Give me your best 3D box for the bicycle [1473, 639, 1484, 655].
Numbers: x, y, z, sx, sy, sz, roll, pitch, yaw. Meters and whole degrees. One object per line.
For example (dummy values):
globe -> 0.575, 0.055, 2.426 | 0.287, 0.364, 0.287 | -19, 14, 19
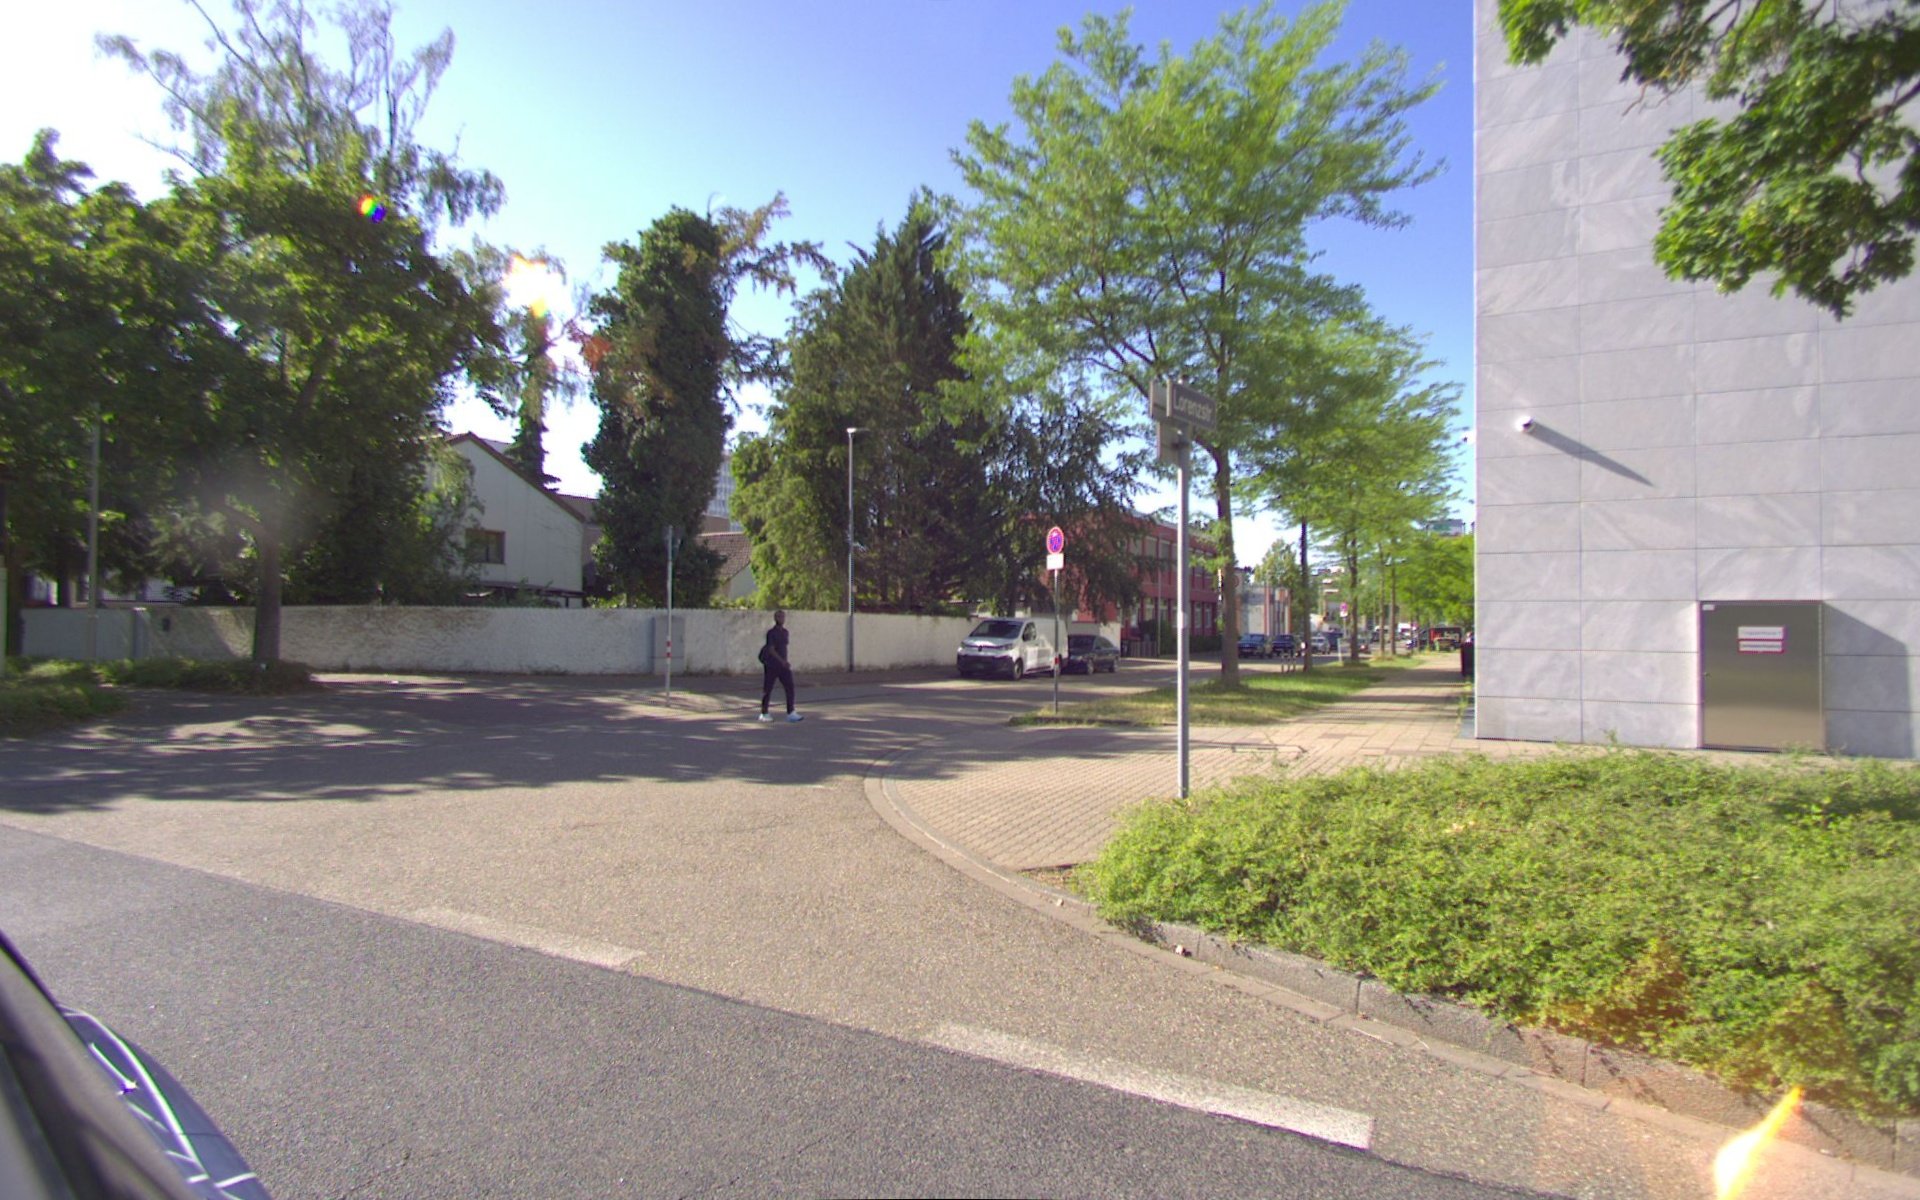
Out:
bicycle -> 37.826, 3.428, 73.828 | 0.600, 1.201, 1.711 | -2, -3, 28

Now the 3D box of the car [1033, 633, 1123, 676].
car -> 4.387, 1.938, 37.013 | 1.823, 1.434, 4.241 | 0, -2, 28

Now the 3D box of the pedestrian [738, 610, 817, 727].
pedestrian -> -2.744, 1.013, 15.271 | 0.807, 1.697, 0.827 | -2, -4, 41

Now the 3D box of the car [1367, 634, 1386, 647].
car -> 57.366, 5.562, 139.367 | 1.896, 1.607, 4.330 | 0, -2, 28

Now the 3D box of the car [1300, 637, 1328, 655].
car -> 31.001, 4.033, 88.537 | 1.693, 1.467, 3.852 | 0, -2, 28

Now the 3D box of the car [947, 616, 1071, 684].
car -> 1.649, 1.513, 31.812 | 1.896, 1.929, 5.098 | 0, -2, 28

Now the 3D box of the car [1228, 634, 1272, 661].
car -> 18.956, 3.057, 66.029 | 1.896, 1.642, 4.330 | 0, -2, 28

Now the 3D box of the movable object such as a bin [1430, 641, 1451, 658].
movable object such as a bin -> 43.925, 4.534, 92.570 | 1.512, 1.580, 1.338 | -1, -3, 19

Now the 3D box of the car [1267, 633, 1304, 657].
car -> 24.477, 3.355, 75.952 | 1.872, 1.642, 4.363 | 0, -2, 28

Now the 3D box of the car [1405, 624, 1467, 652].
car -> 47.569, 3.831, 101.200 | 5.467, 2.561, 1.968 | -3, -3, 28

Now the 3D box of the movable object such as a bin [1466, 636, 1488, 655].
movable object such as a bin -> 43.628, 3.811, 85.391 | 1.520, 1.580, 1.331 | -2, -3, 33

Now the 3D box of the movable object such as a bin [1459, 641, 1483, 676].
movable object such as a bin -> 15.630, 1.793, 30.963 | 0.592, 1.048, 0.538 | -2, -3, 26

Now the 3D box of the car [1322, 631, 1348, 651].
car -> 38.026, 4.152, 102.556 | 1.896, 2.000, 4.330 | 0, -2, 28
